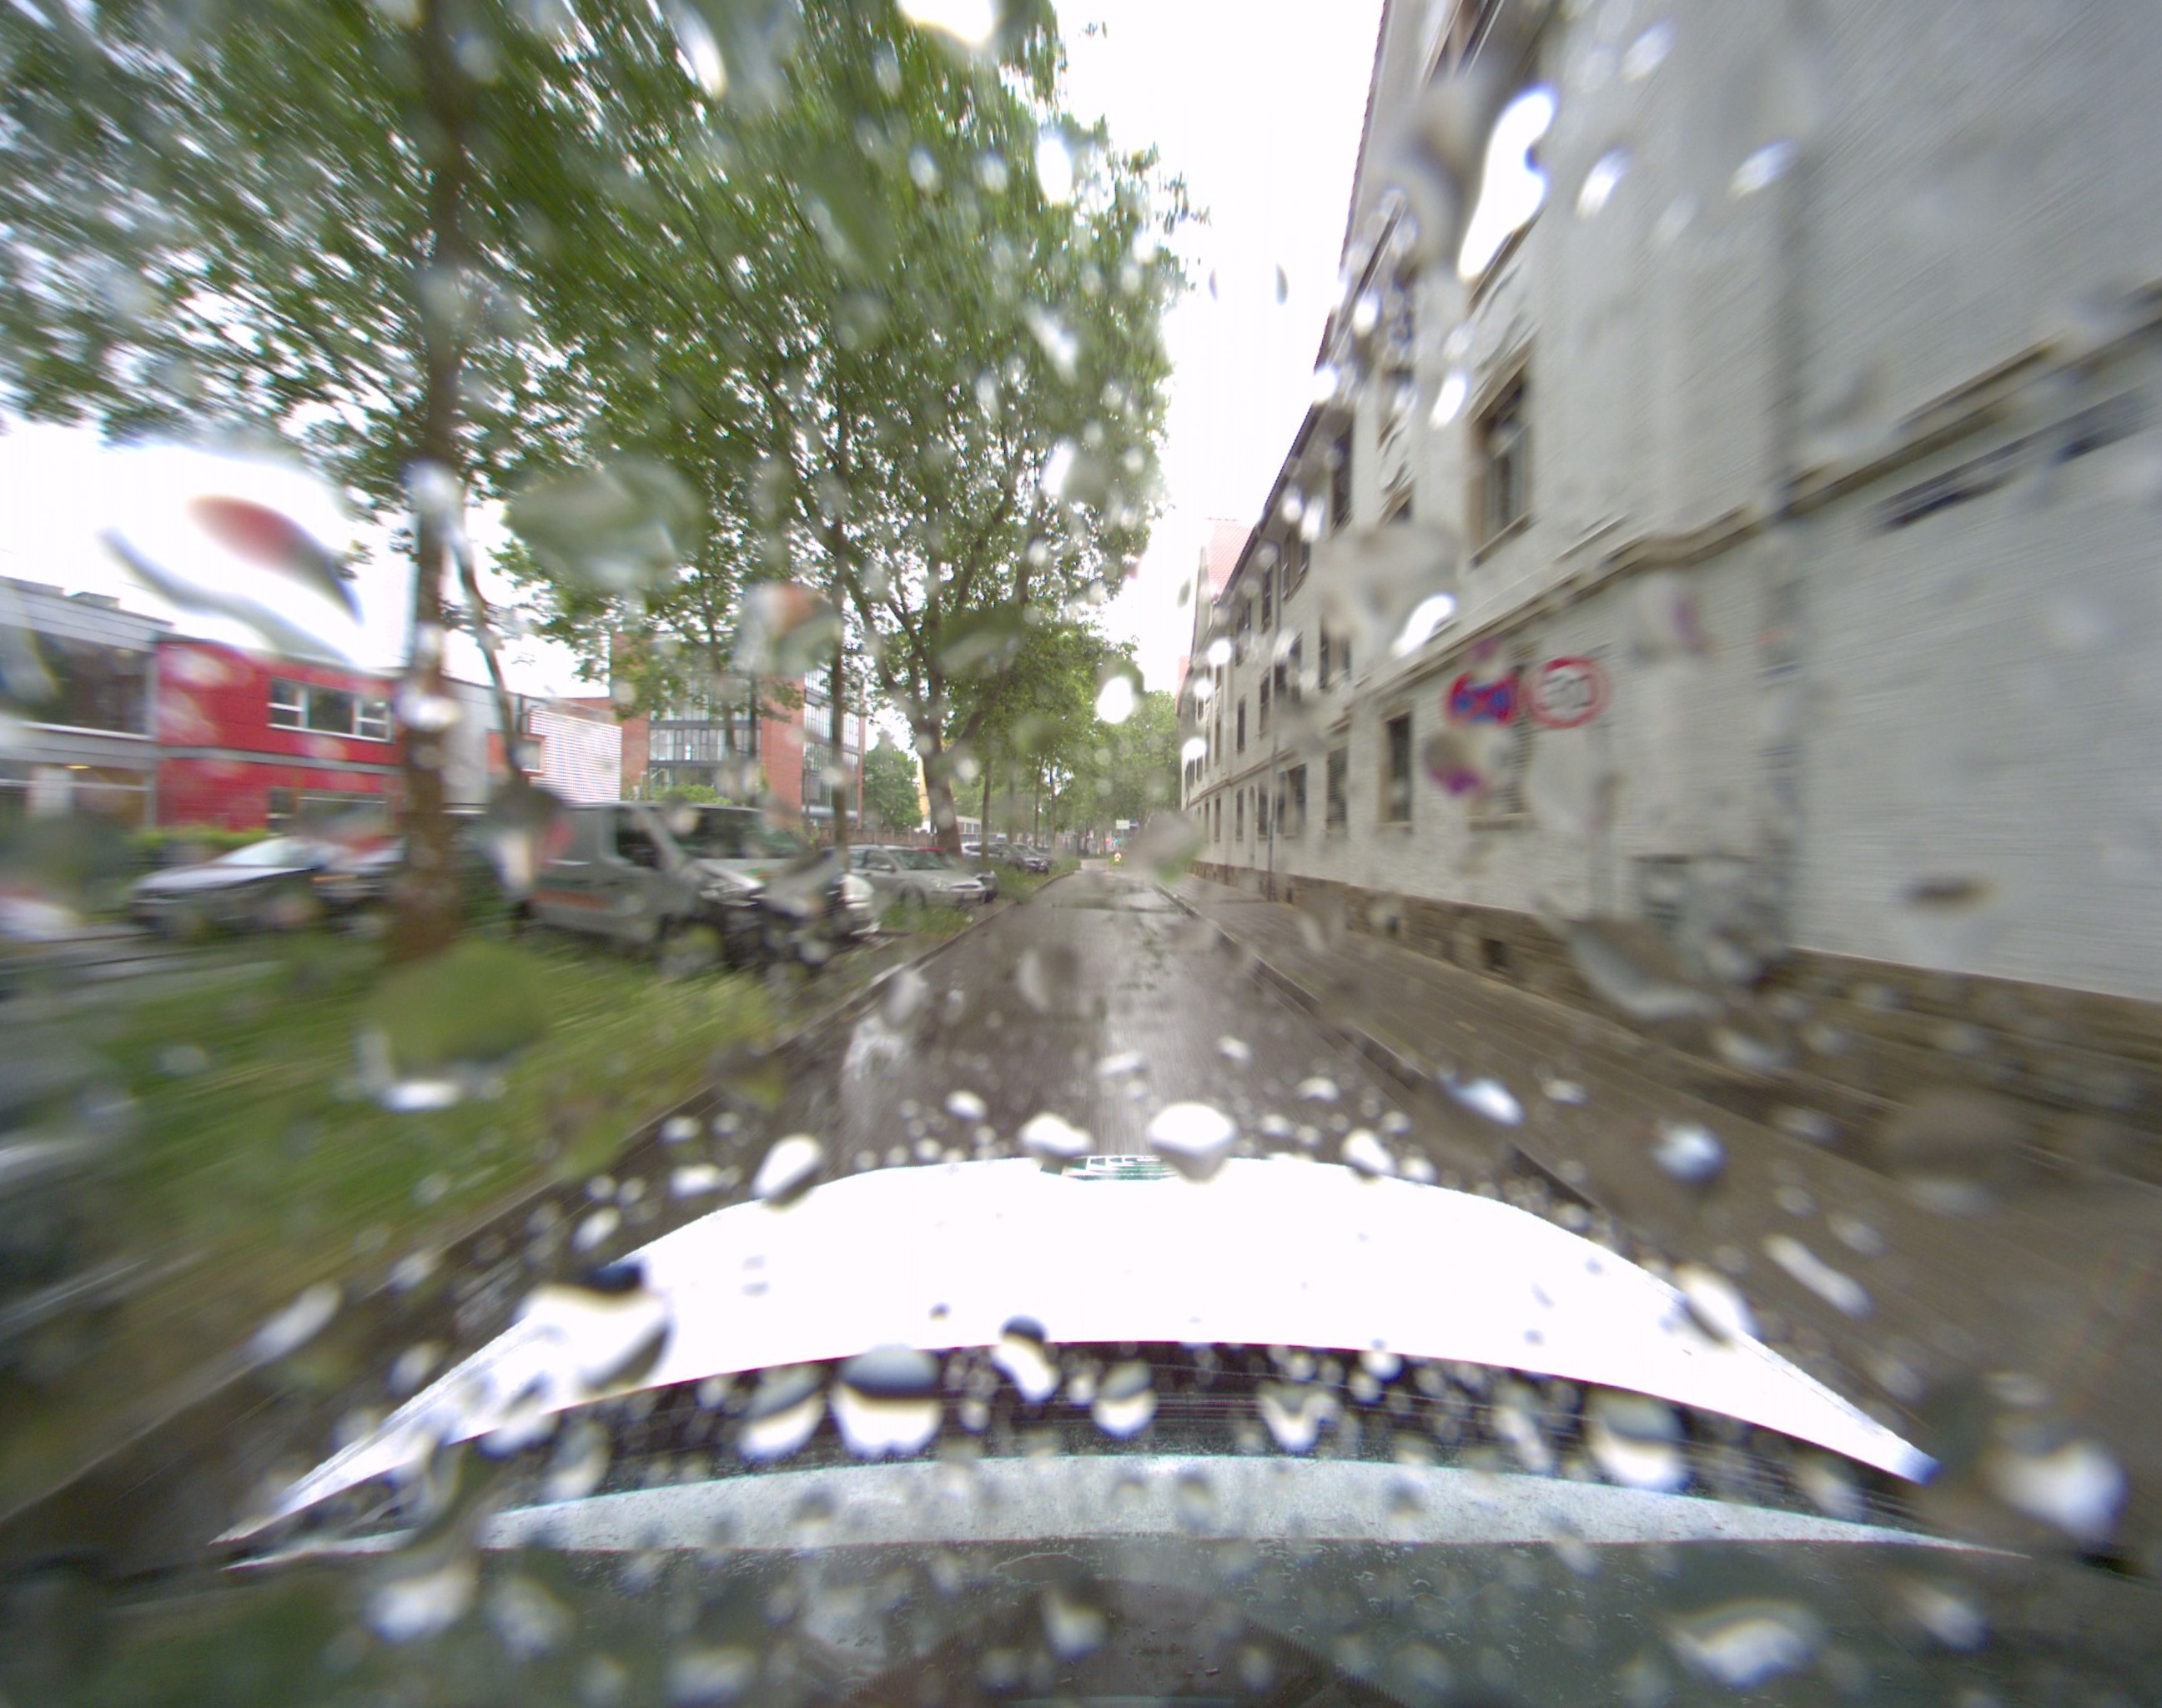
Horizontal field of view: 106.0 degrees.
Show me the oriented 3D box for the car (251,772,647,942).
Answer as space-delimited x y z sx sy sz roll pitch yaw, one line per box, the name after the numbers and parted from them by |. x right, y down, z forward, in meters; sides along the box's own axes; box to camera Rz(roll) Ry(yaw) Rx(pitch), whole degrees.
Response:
-9.095 0.007 12.497 1.986 2.013 5.031 2 1 2 | car

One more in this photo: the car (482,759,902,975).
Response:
-4.748 0.100 9.699 5.066 1.977 2.116 0 1 32 | car

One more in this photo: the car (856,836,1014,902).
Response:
-3.744 0.336 20.751 3.768 1.521 1.733 0 1 32 | car

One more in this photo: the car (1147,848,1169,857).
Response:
15.329 -0.228 161.751 4.020 1.597 1.977 2 0 -41 | car

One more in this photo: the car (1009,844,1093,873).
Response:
-1.720 0.235 46.013 4.308 1.512 1.973 0 2 33 | car

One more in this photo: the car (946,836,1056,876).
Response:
-3.494 0.055 35.479 4.417 1.597 1.935 2 1 28 | car

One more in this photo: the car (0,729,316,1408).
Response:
-4.331 0.389 2.382 4.262 1.436 1.758 2 2 28 | car

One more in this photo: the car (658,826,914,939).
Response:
-4.537 0.363 12.405 3.737 1.482 1.733 0 1 32 | car

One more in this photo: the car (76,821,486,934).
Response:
-11.586 0.237 12.356 1.987 1.420 4.271 0 2 -1 | car

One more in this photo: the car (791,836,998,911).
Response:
-4.194 0.369 18.091 4.502 1.482 1.786 0 1 31 | car
